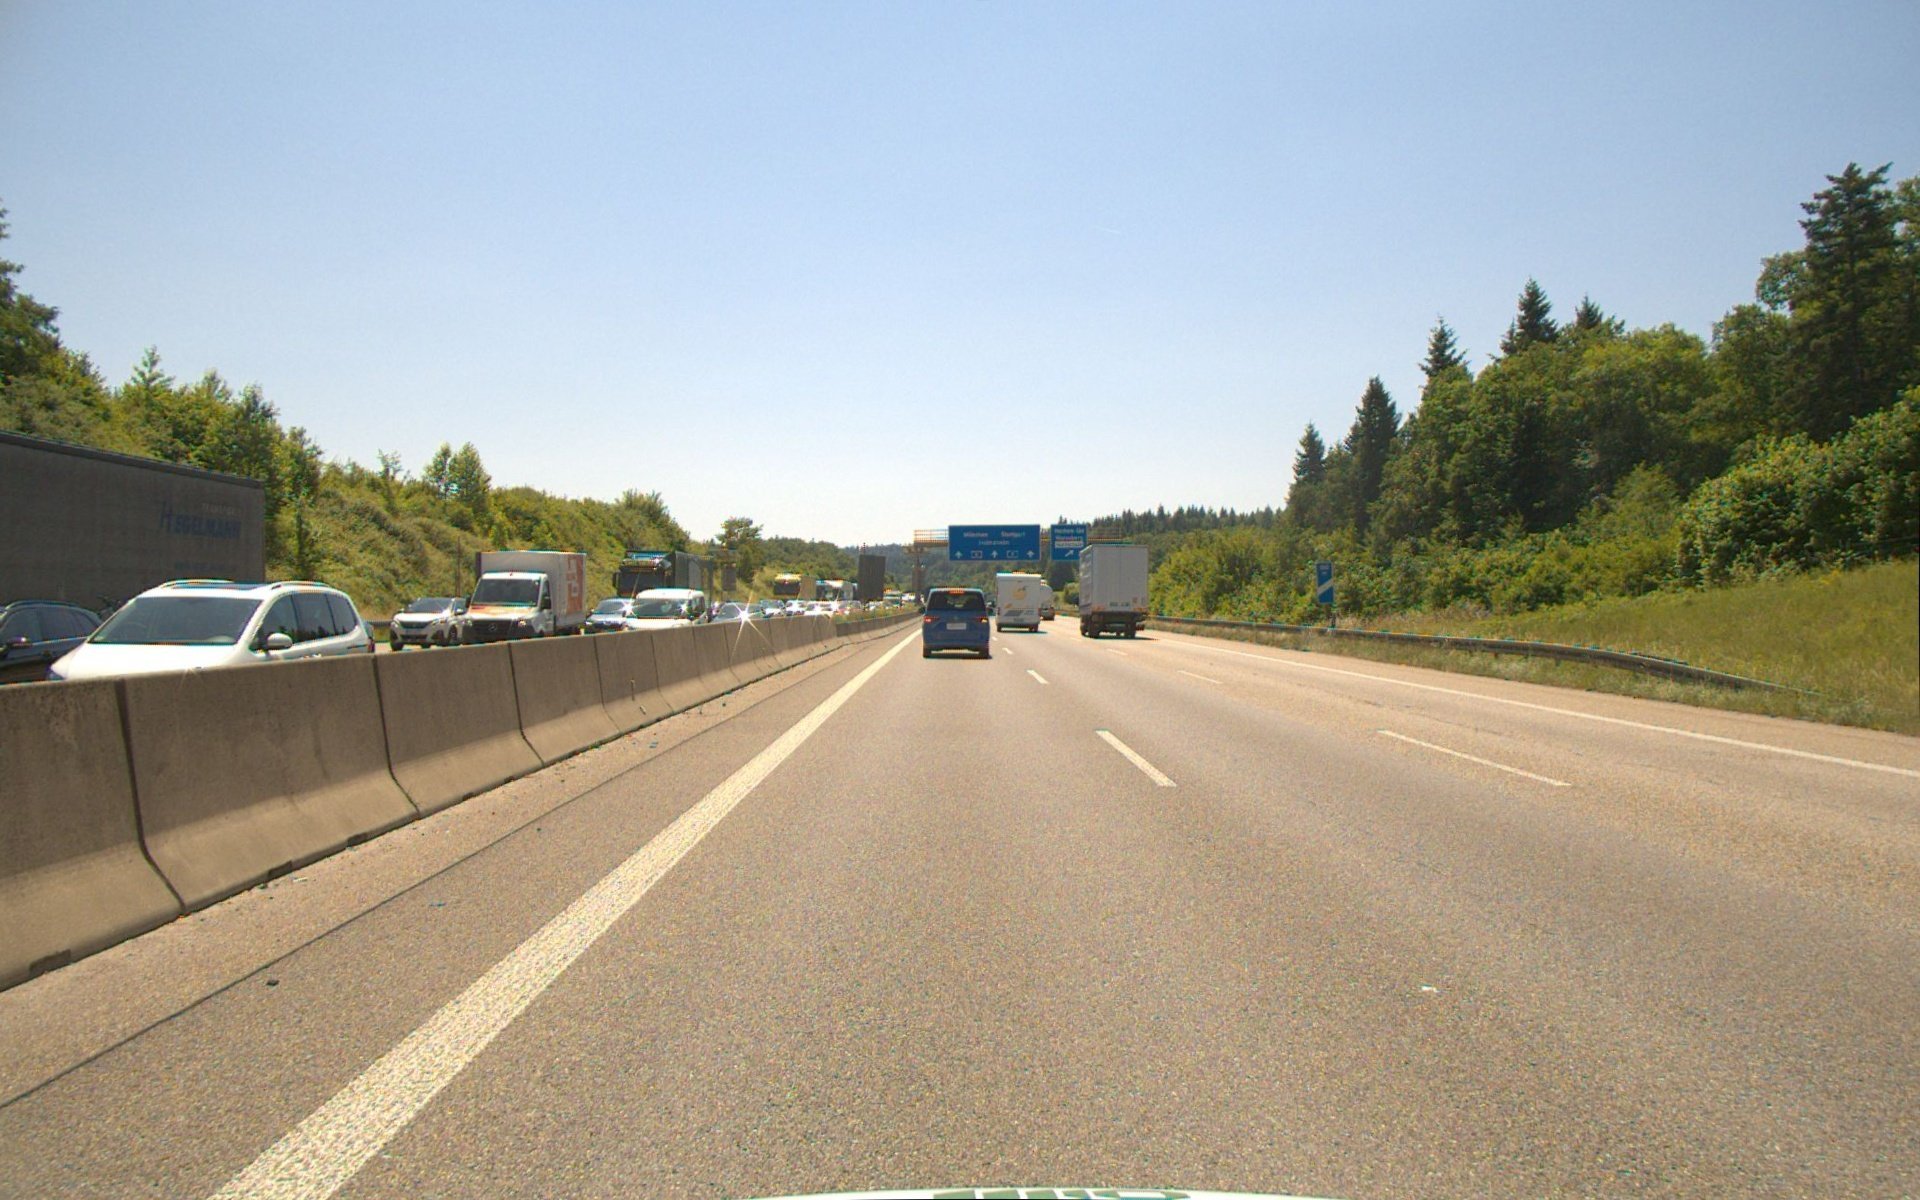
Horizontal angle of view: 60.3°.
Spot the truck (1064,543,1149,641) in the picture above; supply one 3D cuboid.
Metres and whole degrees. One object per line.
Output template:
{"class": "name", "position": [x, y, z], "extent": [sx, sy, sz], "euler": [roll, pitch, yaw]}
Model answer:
{"class": "truck", "position": [6.656, -0.305, 76.429], "extent": [2.727, 4.201, 9.736], "euler": [1, -1, -2]}

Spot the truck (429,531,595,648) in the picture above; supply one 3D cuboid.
{"class": "truck", "position": [-12.021, -0.232, 44.992], "extent": [2.516, 2.895, 6.753], "euler": [1, -1, 1]}

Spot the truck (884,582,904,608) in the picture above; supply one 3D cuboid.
{"class": "truck", "position": [-7.704, -0.536, 193.461], "extent": [2.076, 2.891, 6.212], "euler": [1, -1, 0]}

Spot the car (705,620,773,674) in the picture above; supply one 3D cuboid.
{"class": "car", "position": [-7.665, 1.598, 57.783], "extent": [1.791, 1.795, 4.989], "euler": [1, -1, -1]}

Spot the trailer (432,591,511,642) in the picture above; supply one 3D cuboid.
{"class": "trailer", "position": [-16.061, 0.549, 54.518], "extent": [1.660, 1.615, 3.221], "euler": [1, -1, -1]}

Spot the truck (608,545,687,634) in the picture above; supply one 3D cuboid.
{"class": "truck", "position": [-15.762, -0.486, 83.786], "extent": [2.761, 4.277, 5.629], "euler": [1, -1, 1]}

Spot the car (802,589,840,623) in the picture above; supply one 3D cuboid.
{"class": "car", "position": [-7.772, 0.358, 92.803], "extent": [1.791, 1.795, 4.989], "euler": [1, -1, -1]}

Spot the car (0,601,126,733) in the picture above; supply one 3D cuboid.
{"class": "car", "position": [-11.569, 0.750, 19.189], "extent": [1.563, 1.482, 4.481], "euler": [1, -1, -1]}

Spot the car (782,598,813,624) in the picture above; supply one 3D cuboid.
{"class": "car", "position": [-11.628, 0.829, 118.660], "extent": [1.791, 1.795, 4.989], "euler": [1, -1, -1]}

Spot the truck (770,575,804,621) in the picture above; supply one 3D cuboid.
{"class": "truck", "position": [-16.071, -0.119, 153.819], "extent": [2.549, 4.136, 6.131], "euler": [1, -1, -1]}

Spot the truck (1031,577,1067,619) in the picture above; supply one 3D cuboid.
{"class": "truck", "position": [8.023, -0.239, 149.492], "extent": [2.867, 3.637, 8.527], "euler": [-1, 0, 1]}

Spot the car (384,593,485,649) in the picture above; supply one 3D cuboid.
{"class": "car", "position": [-16.051, 0.637, 50.733], "extent": [1.698, 1.615, 4.368], "euler": [1, -1, -1]}

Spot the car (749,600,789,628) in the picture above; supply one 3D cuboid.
{"class": "car", "position": [-11.882, 0.897, 103.095], "extent": [1.774, 1.657, 5.219], "euler": [1, -1, 0]}

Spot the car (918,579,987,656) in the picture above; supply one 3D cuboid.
{"class": "car", "position": [-0.218, 0.447, 46.795], "extent": [1.870, 2.049, 4.000], "euler": [0, 1, -1]}

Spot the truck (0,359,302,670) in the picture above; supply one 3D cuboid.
{"class": "truck", "position": [-15.715, -1.242, 28.504], "extent": [2.933, 4.622, 13.924], "euler": [1, -1, 1]}

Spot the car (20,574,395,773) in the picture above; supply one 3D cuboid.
{"class": "car", "position": [-7.768, 0.704, 17.701], "extent": [1.791, 1.795, 4.989], "euler": [1, -1, -1]}

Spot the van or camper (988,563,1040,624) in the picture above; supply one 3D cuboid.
{"class": "van or camper", "position": [2.867, -0.348, 89.063], "extent": [2.550, 3.132, 7.182], "euler": [1, 0, 0]}

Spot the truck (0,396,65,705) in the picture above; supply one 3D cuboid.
{"class": "truck", "position": [-15.797, -0.787, 22.036], "extent": [2.881, 4.595, 8.605], "euler": [1, -1, 1]}

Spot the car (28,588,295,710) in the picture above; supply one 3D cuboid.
{"class": "car", "position": [-11.550, 0.678, 24.316], "extent": [1.791, 1.592, 4.522], "euler": [1, -1, -1]}

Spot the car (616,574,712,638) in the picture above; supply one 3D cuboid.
{"class": "car", "position": [-7.973, 0.183, 44.963], "extent": [1.791, 1.592, 5.109], "euler": [1, -1, -1]}

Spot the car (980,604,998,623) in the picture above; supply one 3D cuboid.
{"class": "car", "position": [3.007, 1.398, 169.770], "extent": [1.780, 1.825, 3.894], "euler": [1, -1, 0]}

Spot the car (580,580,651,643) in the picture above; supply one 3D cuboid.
{"class": "car", "position": [-11.734, 0.413, 56.491], "extent": [1.590, 2.049, 3.999], "euler": [1, -1, -1]}
